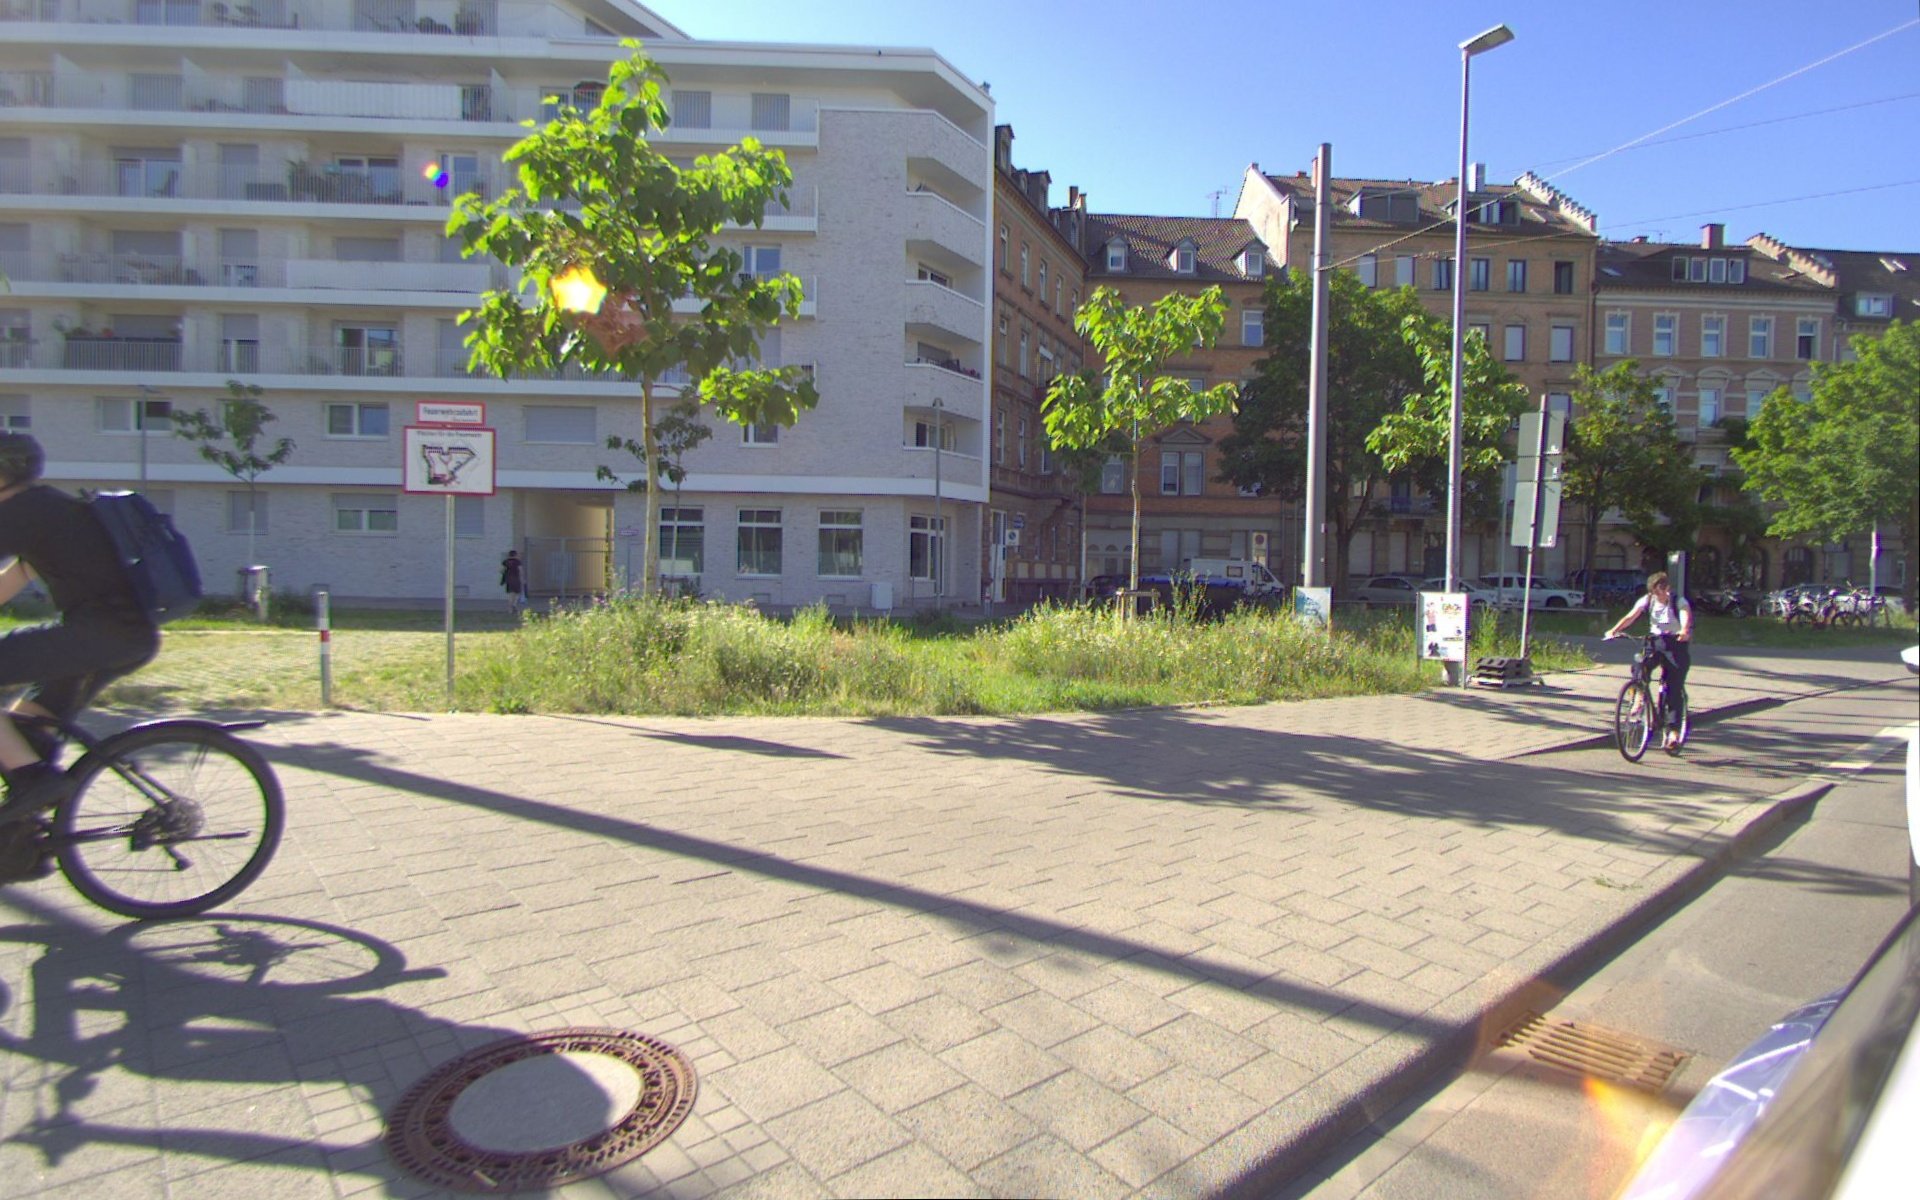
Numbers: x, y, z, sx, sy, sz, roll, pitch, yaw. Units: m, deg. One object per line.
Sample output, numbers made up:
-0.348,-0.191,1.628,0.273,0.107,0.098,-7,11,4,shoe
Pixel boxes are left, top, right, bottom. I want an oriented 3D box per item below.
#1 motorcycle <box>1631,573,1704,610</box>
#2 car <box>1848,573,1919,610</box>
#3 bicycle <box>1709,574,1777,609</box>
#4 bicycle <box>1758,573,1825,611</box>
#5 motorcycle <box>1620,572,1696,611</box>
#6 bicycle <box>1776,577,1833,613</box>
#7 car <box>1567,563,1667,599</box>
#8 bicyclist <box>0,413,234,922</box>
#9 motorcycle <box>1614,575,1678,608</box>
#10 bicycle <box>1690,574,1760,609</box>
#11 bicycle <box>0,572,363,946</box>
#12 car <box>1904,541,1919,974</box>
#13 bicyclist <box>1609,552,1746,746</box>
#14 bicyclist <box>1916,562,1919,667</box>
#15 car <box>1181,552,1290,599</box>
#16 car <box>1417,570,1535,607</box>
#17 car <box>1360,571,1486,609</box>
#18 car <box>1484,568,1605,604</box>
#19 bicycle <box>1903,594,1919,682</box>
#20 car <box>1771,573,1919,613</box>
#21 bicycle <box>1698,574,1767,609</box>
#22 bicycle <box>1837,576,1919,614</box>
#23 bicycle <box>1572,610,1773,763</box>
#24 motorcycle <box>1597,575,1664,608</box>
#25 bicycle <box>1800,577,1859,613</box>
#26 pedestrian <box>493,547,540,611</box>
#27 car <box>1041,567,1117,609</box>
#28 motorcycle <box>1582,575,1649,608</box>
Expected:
26.156,-0.324,37.470,0.649,1.339,2.208,0,0,-23,motorcycle
37.824,-0.332,39.963,1.649,1.423,3.832,-1,3,-32,car
29.726,-0.329,38.465,0.649,1.284,2.208,0,0,-9,bicycle
29.276,-0.295,35.675,0.651,1.284,2.202,0,0,4,bicycle
25.340,-0.309,36.781,0.650,1.347,2.207,0,0,-28,motorcycle
30.943,-0.188,37.112,0.653,1.284,2.196,0,0,12,bicycle
30.878,-0.924,47.651,3.631,1.607,1.552,1,2,0,car
-3.202,0.211,3.581,0.952,1.649,0.632,0,1,-29,bicyclist
27.490,-0.338,40.613,0.649,1.284,2.209,0,0,-18,motorcycle
28.372,-0.313,37.566,0.649,1.284,2.208,0,0,-11,bicycle
-3.324,0.510,3.524,2.110,1.212,0.639,0,1,-28,bicycle
5.870,0.606,4.719,4.323,1.667,1.840,0,0,-43,car
6.485,0.409,9.153,0.952,1.649,0.670,0,1,-32,bicyclist
16.199,0.242,16.465,0.953,1.715,0.736,0,1,-35,bicyclist
12.663,-1.158,46.785,4.416,2.062,2.054,1,2,0,car
19.674,-0.471,38.720,1.648,1.267,3.709,0,3,-28,car
17.351,-0.425,38.110,1.648,1.267,4.170,0,3,-28,car
22.331,-0.581,38.775,1.513,1.267,3.700,-1,3,-39,car
16.081,0.599,16.400,2.036,1.378,0.737,0,1,-35,bicycle
34.688,-0.323,39.594,1.651,1.423,4.324,-1,3,-38,car
29.083,-0.322,38.154,0.649,1.284,2.208,0,0,-9,bicycle
31.631,-0.169,34.765,2.180,1.284,0.657,0,0,25,bicycle
6.459,0.718,9.141,2.111,1.212,0.670,0,1,-31,bicycle
26.699,-0.339,40.359,0.649,1.300,2.324,0,0,-18,motorcycle
32.037,-0.196,37.336,0.653,1.284,2.196,0,0,12,bicycle
-12.364,-0.583,28.214,0.829,1.717,0.985,2,2,2,pedestrian
4.569,-0.509,38.300,1.811,1.444,4.359,1,2,21,car
26.029,-0.331,40.227,0.649,1.293,2.324,0,0,-18,motorcycle
